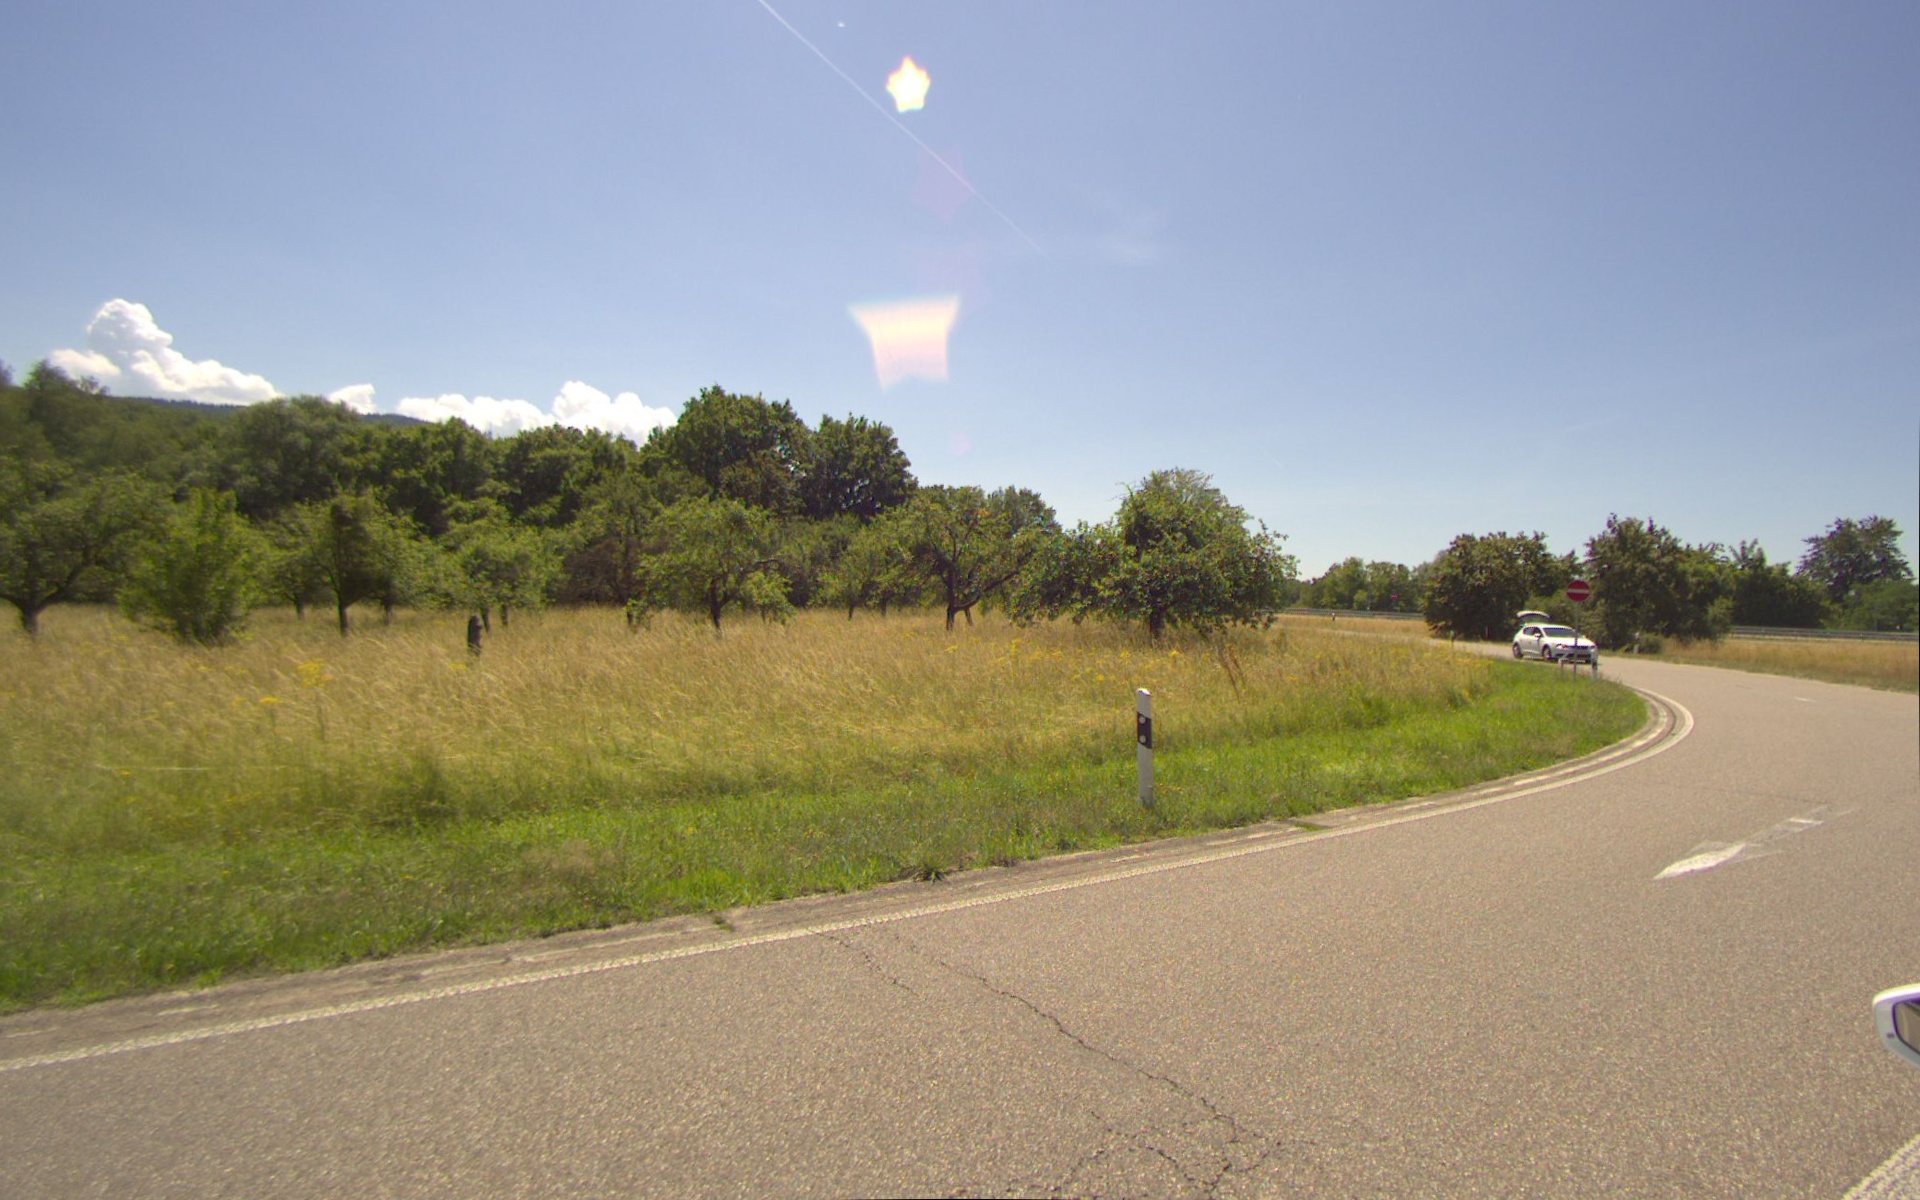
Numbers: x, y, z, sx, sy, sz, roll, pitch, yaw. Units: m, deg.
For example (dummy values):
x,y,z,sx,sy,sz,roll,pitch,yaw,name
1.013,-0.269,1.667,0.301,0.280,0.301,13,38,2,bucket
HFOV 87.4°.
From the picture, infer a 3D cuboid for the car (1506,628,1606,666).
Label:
x,y,z,sx,sy,sz,roll,pitch,yaw,name
23.811,1.842,40.306,1.815,1.443,4.150,0,-1,5,car
